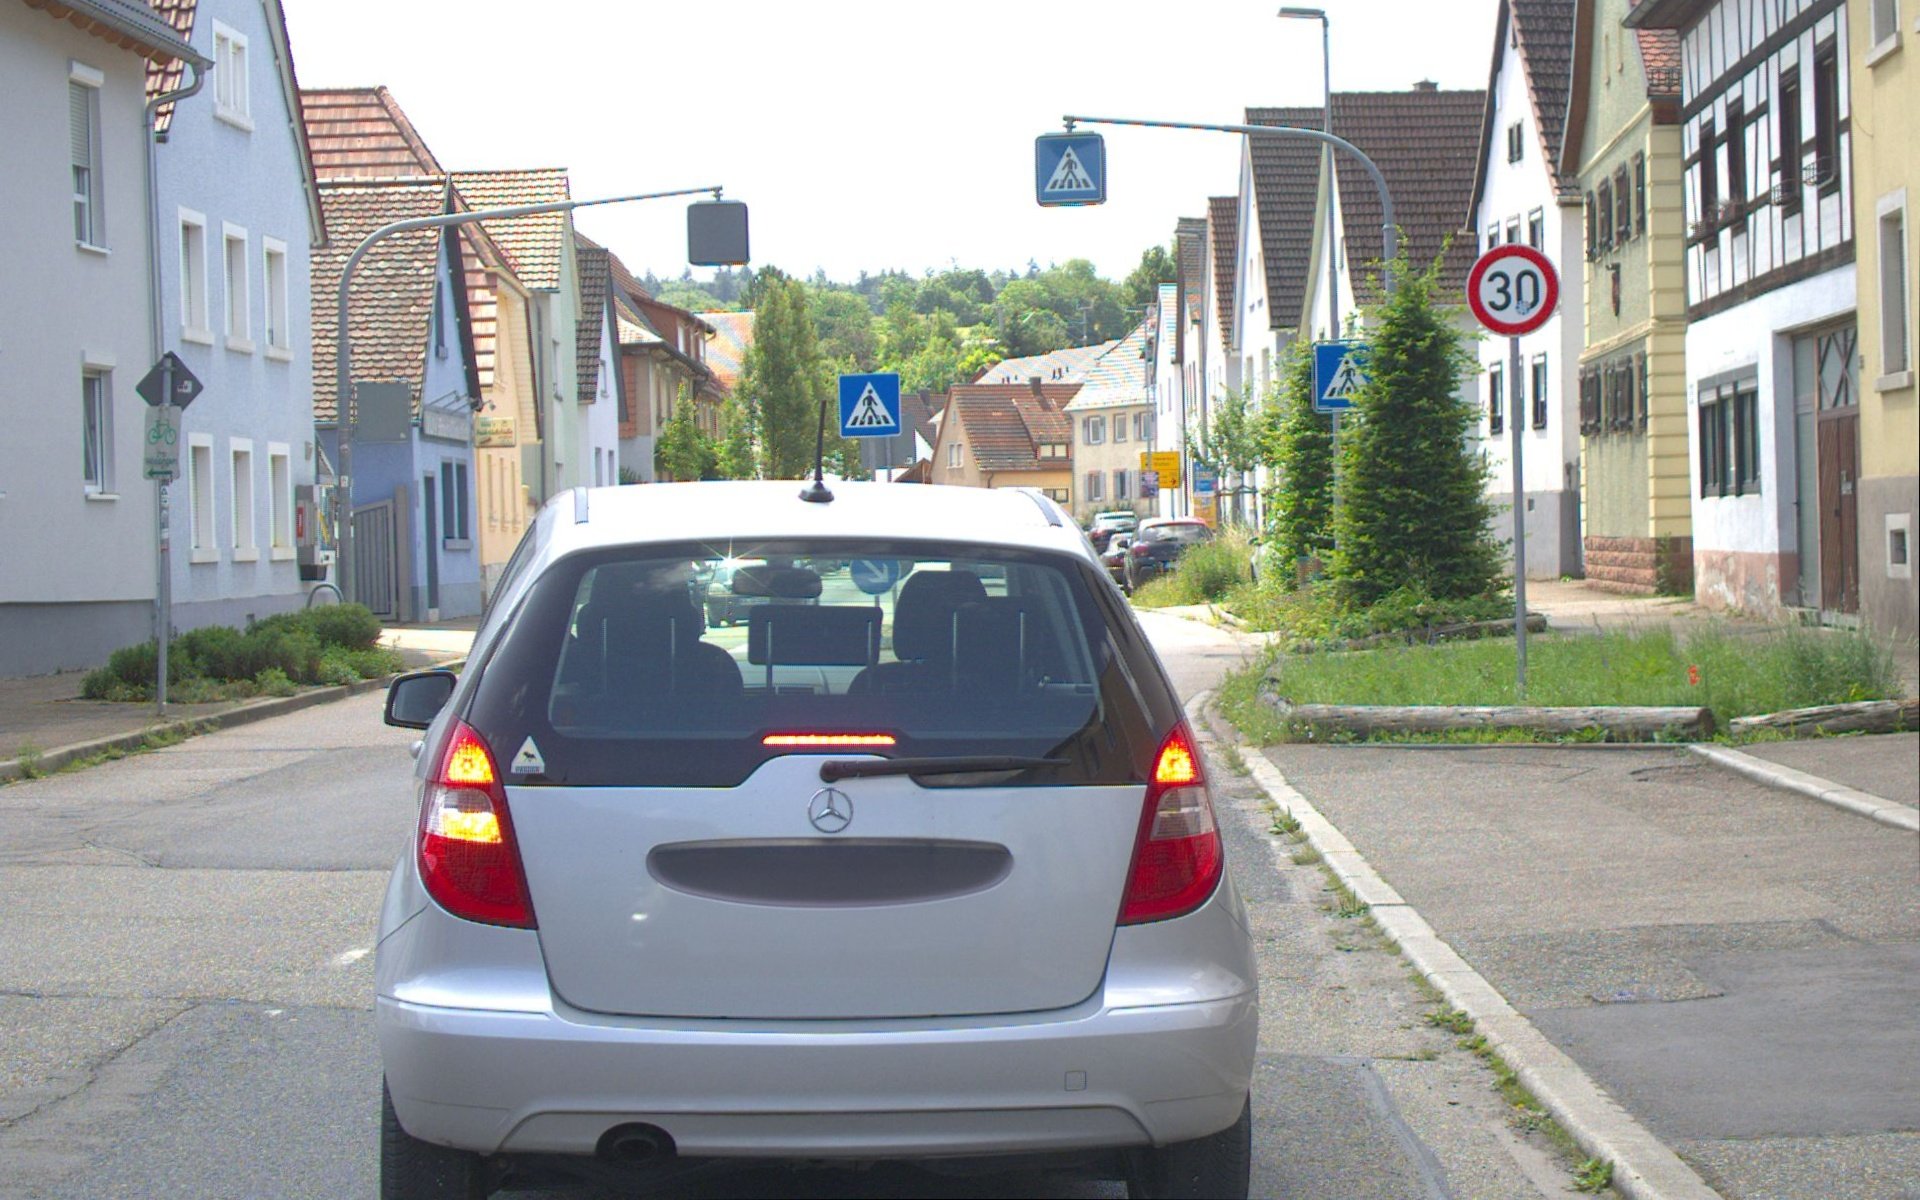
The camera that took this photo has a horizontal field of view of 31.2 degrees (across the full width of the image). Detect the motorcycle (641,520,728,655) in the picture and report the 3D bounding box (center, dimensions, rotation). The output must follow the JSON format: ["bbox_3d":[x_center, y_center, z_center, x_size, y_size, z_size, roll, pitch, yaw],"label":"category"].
[{"bbox_3d":[-3.264,-0.165,40.902,0.880,1.555,1.967,0,2,0],"label":"motorcycle"}]

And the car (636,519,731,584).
[{"bbox_3d":[-5.988,-1.039,74.354,1.993,1.317,3.709,0,0,-5],"label":"car"}]

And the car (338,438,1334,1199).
[{"bbox_3d":[-0.431,0.512,8.155,1.810,1.638,3.730,1,1,-7],"label":"car"}]

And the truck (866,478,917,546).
[{"bbox_3d":[-2.743,-3.532,139.136,1.993,2.528,6.739,0,0,0],"label":"truck"}]

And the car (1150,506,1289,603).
[{"bbox_3d":[4.236,-0.720,56.663,1.993,1.503,4.000,0,0,0],"label":"car"}]

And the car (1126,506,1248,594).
[{"bbox_3d":[4.148,-0.896,63.333,1.993,1.503,4.000,0,0,0],"label":"car"}]

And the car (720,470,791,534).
[{"bbox_3d":[-5.502,-2.632,92.825,1.667,1.590,4.000,0,0,0],"label":"car"}]

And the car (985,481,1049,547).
[{"bbox_3d":[1.829,-2.771,111.598,1.993,2.007,4.000,0,0,0],"label":"car"}]

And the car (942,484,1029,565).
[{"bbox_3d":[0.581,-1.782,82.082,1.993,1.810,4.000,0,0,-1],"label":"car"}]

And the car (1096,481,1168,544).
[{"bbox_3d":[5.323,-2.707,106.897,1.993,1.810,4.000,0,0,-1],"label":"car"}]

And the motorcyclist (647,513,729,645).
[{"bbox_3d":[-3.241,-0.259,41.051,0.896,1.549,0.807,0,2,1],"label":"motorcyclist"}]
